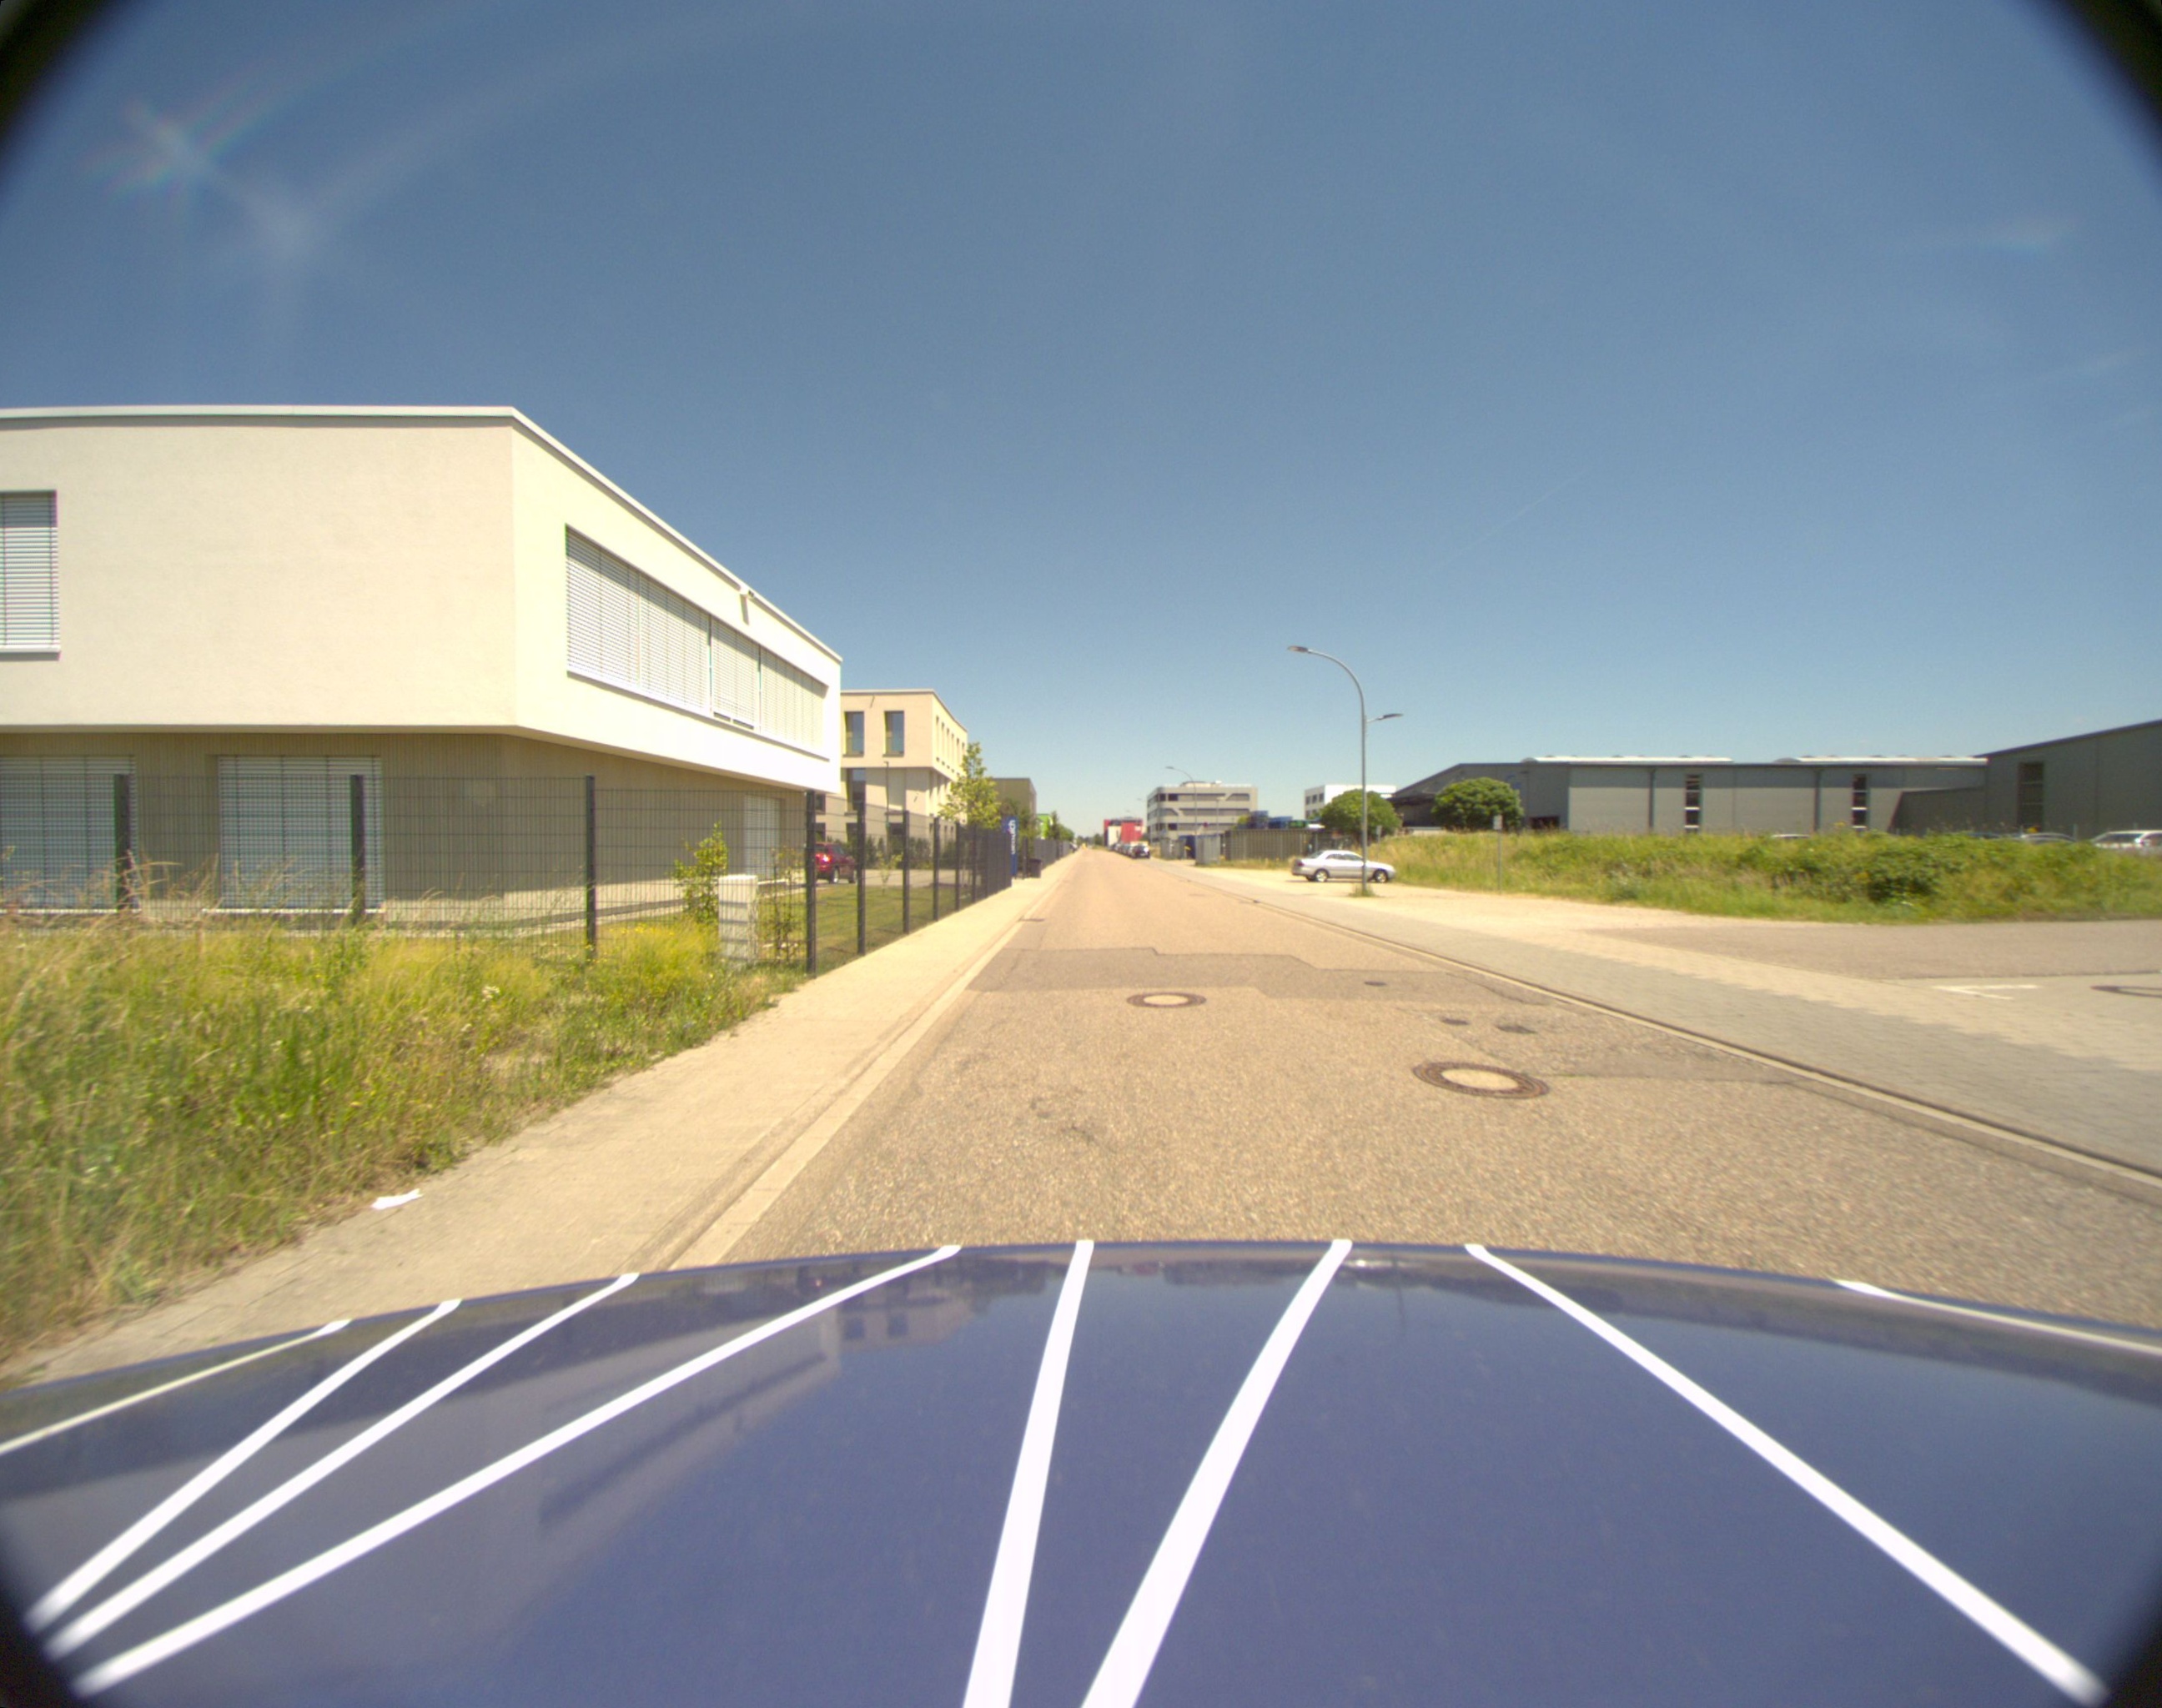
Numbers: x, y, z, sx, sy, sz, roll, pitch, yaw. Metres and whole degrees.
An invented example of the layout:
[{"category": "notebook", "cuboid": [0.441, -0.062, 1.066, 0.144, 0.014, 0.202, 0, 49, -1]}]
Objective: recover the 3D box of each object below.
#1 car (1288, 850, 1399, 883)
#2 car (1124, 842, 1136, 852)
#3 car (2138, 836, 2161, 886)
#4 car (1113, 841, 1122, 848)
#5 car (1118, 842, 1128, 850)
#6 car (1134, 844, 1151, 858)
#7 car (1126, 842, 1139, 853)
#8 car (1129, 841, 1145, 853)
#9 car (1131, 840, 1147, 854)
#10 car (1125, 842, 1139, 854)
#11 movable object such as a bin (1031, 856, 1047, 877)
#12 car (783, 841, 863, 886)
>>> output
[{"category": "car", "cuboid": [11.555, 0.550, 33.648, 4.257, 1.372, 1.862, 0, 1, 2]}, {"category": "car", "cuboid": [7.837, -1.168, 122.289, 1.772, 1.521, 3.777, -2, 1, 1]}, {"category": "car", "cuboid": [32.271, 0.135, 20.917, 3.889, 1.390, 1.738, -2, 1, 0]}, {"category": "car", "cuboid": [8.167, -2.062, 168.816, 1.772, 1.521, 3.777, -2, 1, 1]}, {"category": "car", "cuboid": [8.180, -1.641, 148.772, 1.772, 1.521, 3.777, -2, 1, 1]}, {"category": "car", "cuboid": [7.005, -0.387, 86.596, 1.695, 1.482, 3.660, -2, 1, 1]}, {"category": "car", "cuboid": [7.974, -1.043, 117.870, 1.659, 1.573, 3.777, -2, 1, 1]}, {"category": "car", "cuboid": [7.175, -0.901, 97.858, 1.772, 1.521, 3.777, -2, 1, 1]}, {"category": "car", "cuboid": [7.069, -0.856, 92.681, 1.772, 1.521, 3.777, -2, 1, 1]}, {"category": "car", "cuboid": [7.108, -0.880, 106.481, 1.772, 1.462, 3.777, -3, 1, 1]}, {"category": "movable object such as a bin", "cuboid": [-2.185, 0.660, 39.438, 0.749, 1.042, 0.698, 1, 2, 1]}, {"category": "car", "cuboid": [-9.365, 0.340, 27.905, 1.673, 1.548, 4.077, 0, 0, -2]}]
